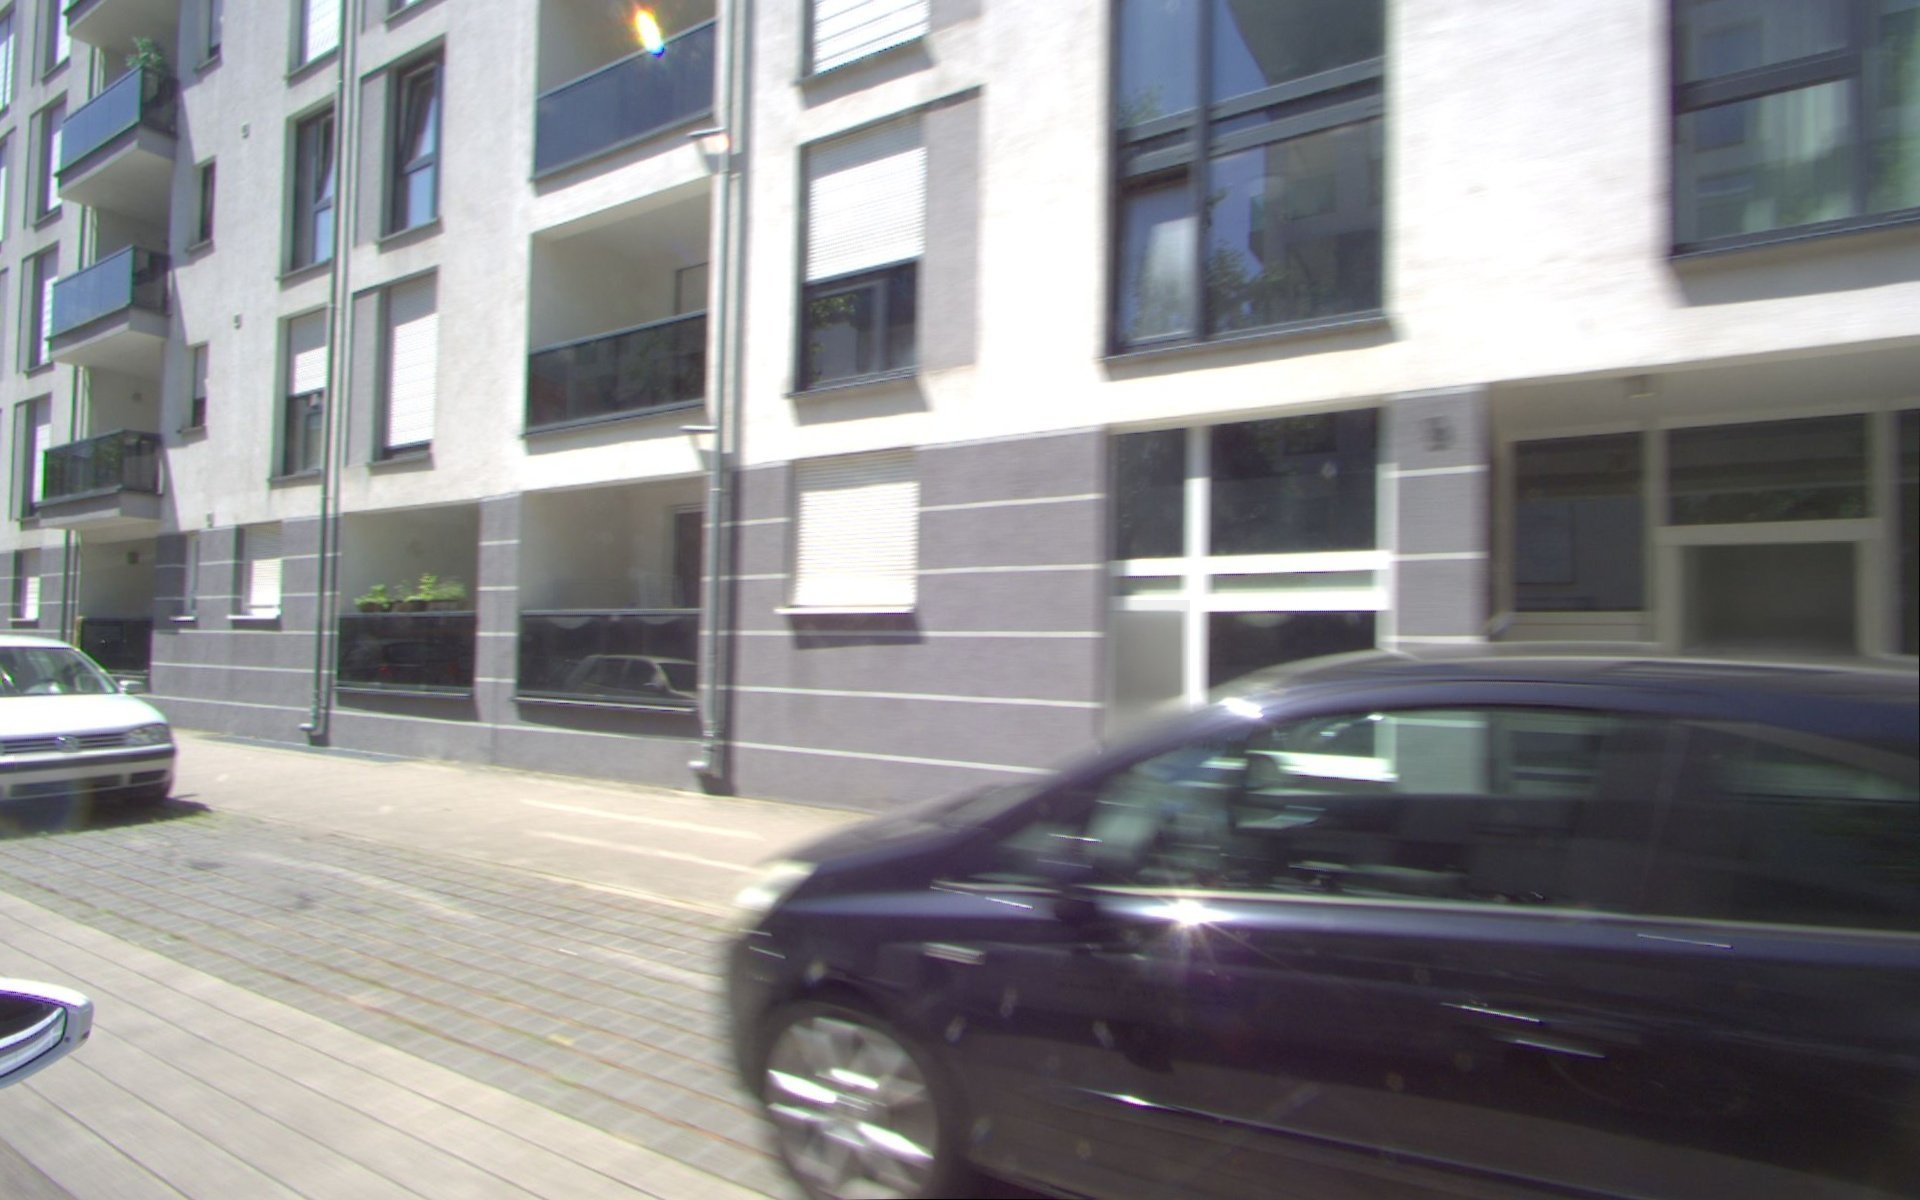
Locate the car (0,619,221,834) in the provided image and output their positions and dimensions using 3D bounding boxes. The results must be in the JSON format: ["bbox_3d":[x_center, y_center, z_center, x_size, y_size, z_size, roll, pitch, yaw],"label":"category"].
[{"bbox_3d":[-8.395,0.924,8.608,4.287,1.524,1.831,0,-2,32],"label":"car"}]

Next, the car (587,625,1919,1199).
[{"bbox_3d":[1.066,0.824,2.566,4.057,1.481,1.640,0,-1,31],"label":"car"}]
